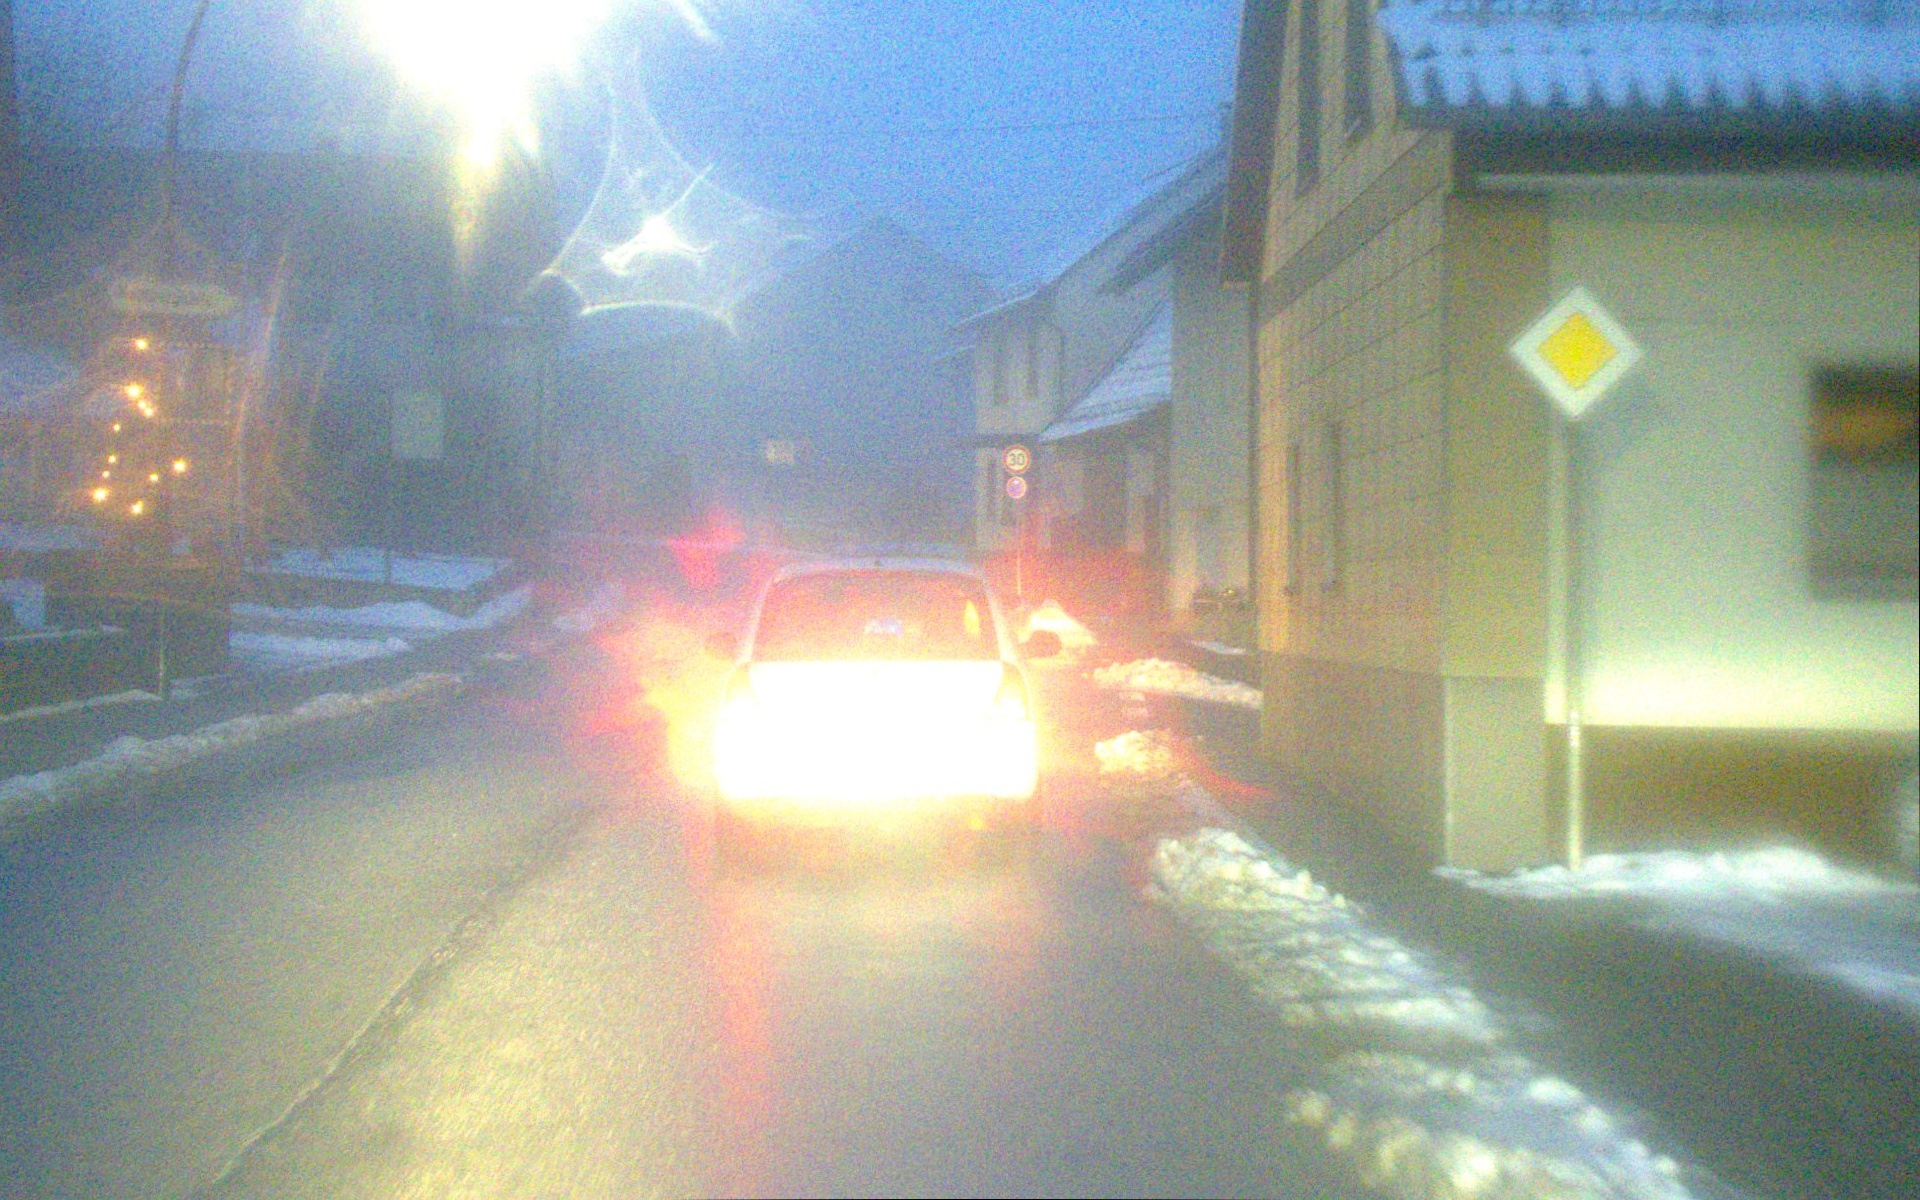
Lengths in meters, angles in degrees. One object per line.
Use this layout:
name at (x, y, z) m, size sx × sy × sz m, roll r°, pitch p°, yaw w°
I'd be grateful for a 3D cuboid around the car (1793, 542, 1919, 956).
car at (5.409, 0.582, 12.531) m, size 4.169 × 1.428 × 1.901 m, roll 2°, pitch 1°, yaw -5°

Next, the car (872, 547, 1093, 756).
car at (0.131, 0.403, 29.123) m, size 1.645 × 1.590 × 3.700 m, roll 2°, pitch 0°, yaw -2°

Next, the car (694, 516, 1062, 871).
car at (-0.448, 0.432, 17.836) m, size 1.645 × 1.590 × 3.700 m, roll 2°, pitch 0°, yaw -2°
